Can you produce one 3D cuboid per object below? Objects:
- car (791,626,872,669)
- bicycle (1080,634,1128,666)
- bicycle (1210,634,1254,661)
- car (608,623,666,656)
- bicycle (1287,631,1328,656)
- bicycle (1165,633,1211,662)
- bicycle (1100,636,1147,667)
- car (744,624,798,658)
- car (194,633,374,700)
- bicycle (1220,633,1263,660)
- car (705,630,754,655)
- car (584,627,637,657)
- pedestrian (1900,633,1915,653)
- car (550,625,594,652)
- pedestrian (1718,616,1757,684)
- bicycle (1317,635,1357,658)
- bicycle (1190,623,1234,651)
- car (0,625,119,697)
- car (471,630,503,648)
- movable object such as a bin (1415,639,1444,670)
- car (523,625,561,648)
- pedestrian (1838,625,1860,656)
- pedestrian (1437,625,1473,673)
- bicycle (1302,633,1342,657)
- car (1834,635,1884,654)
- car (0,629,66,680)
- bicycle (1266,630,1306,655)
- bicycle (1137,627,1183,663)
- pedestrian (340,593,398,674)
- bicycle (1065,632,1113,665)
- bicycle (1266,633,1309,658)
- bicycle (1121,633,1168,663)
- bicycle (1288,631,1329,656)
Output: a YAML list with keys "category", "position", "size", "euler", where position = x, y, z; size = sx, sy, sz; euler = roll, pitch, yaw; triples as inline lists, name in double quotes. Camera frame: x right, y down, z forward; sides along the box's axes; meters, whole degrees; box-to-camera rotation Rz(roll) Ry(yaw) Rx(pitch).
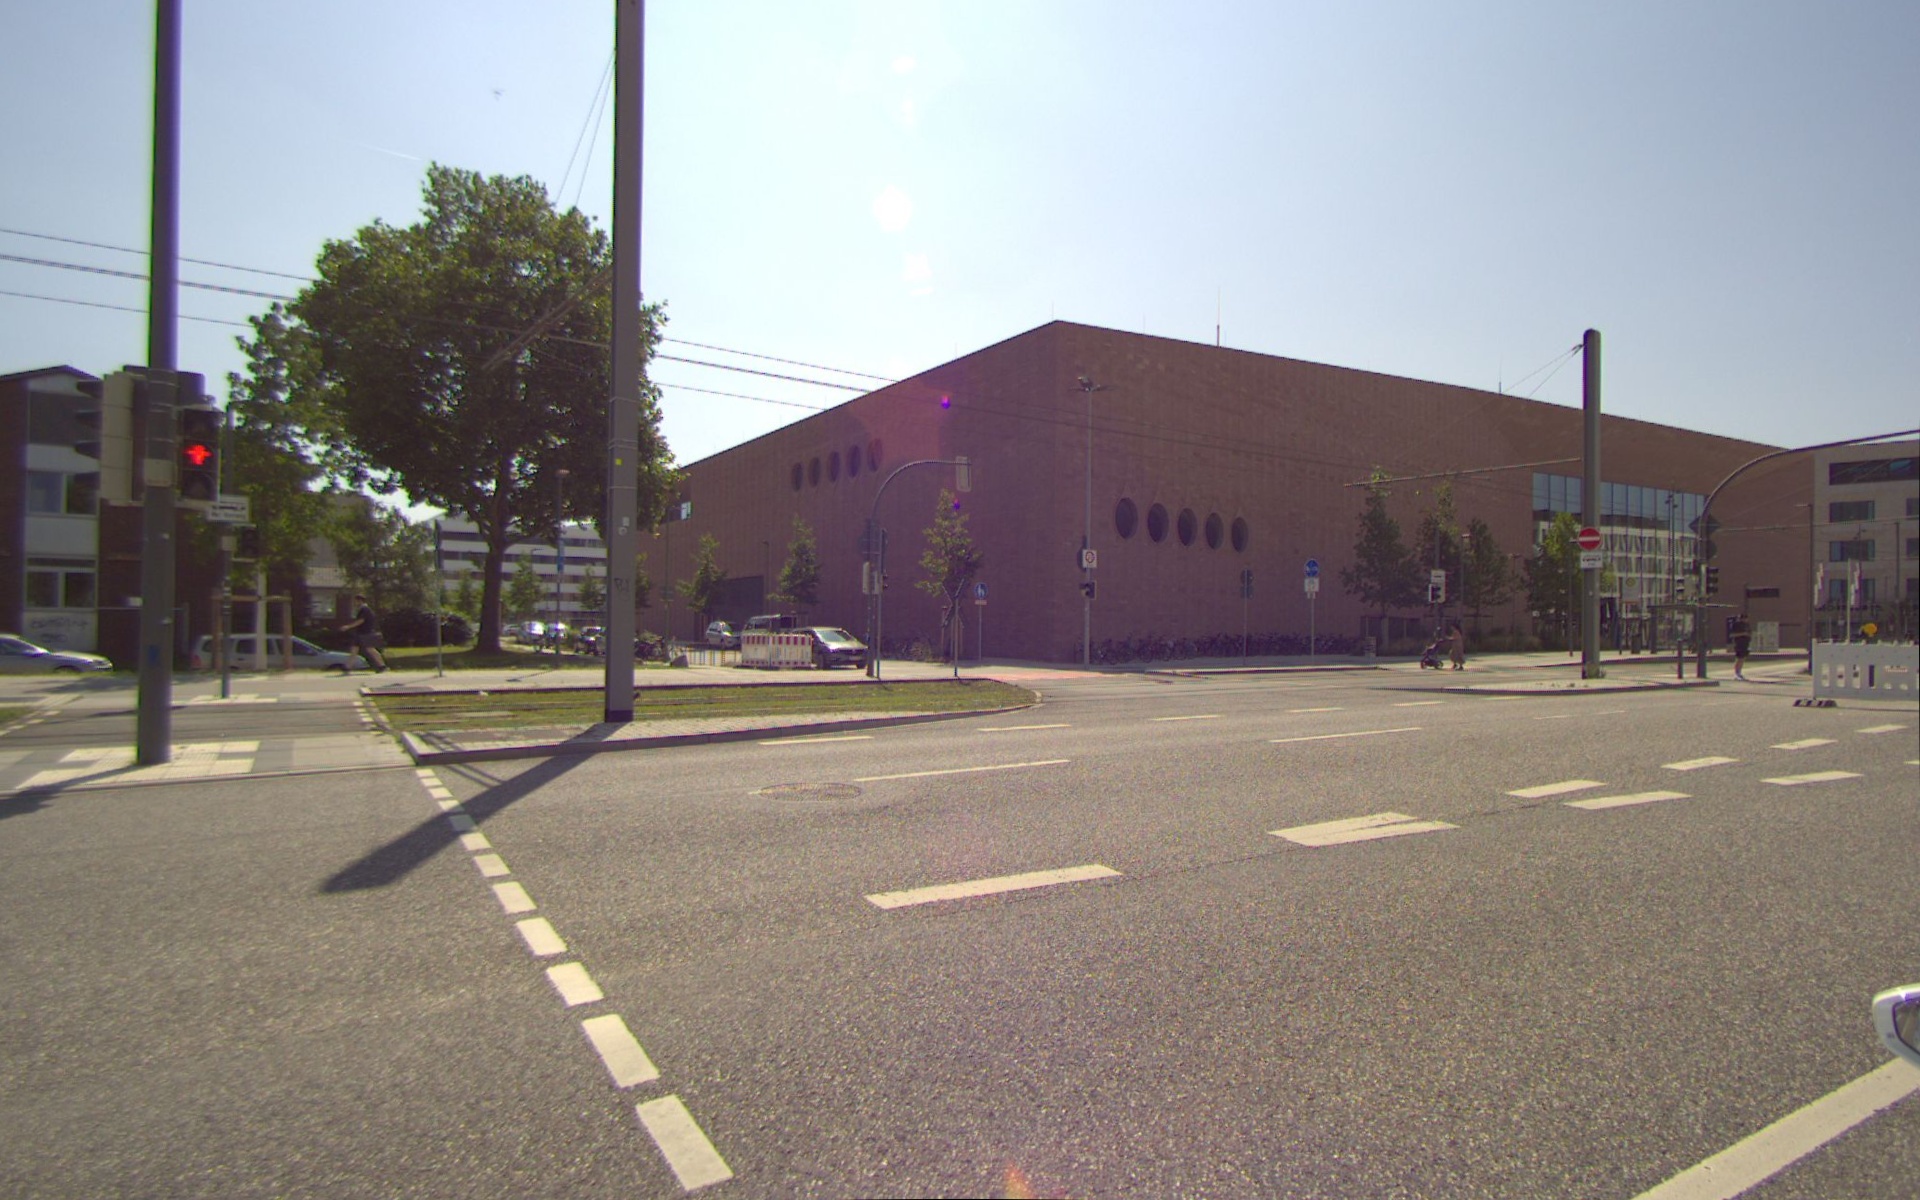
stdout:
- category: "car"
  position: [-4.682, 1.692, 36.309]
  size: [1.557, 1.388, 3.457]
  euler: [1, 0, -34]
- category: "bicycle"
  position: [5.874, 2.034, 41.029]
  size: [0.536, 1.228, 2.031]
  euler: [1, -1, -43]
- category: "bicycle"
  position: [12.910, 2.234, 47.729]
  size: [0.536, 1.228, 2.031]
  euler: [1, -1, -43]
- category: "car"
  position: [-15.650, 1.875, 48.521]
  size: [1.975, 1.421, 3.971]
  euler: [2, -1, -28]
- category: "bicycle"
  position: [18.288, 2.266, 52.891]
  size: [0.536, 1.228, 2.031]
  euler: [1, -1, -43]
- category: "bicycle"
  position: [10.242, 2.131, 45.181]
  size: [0.536, 1.228, 2.031]
  euler: [1, -1, -43]
- category: "bicycle"
  position: [6.788, 2.128, 41.791]
  size: [0.536, 1.228, 2.031]
  euler: [1, -1, -43]
- category: "car"
  position: [-10.331, 2.191, 54.829]
  size: [1.676, 1.712, 3.523]
  euler: [1, 0, -33]
- category: "car"
  position: [-19.823, 1.945, 29.659]
  size: [4.256, 1.784, 1.688]
  euler: [3, -1, -34]
- category: "bicycle"
  position: [13.744, 2.245, 49.029]
  size: [0.536, 1.228, 2.031]
  euler: [1, -1, -43]
- category: "car"
  position: [-13.703, 2.490, 59.651]
  size: [1.695, 1.339, 3.475]
  euler: [3, -1, -34]
- category: "car"
  position: [-18.208, 2.166, 52.229]
  size: [1.975, 1.421, 3.971]
  euler: [2, -1, -28]
- category: "pedestrian"
  position: [73.941, 3.344, 78.388]
  size: [0.881, 1.592, 0.706]
  euler: [1, -1, -34]
- category: "car"
  position: [-23.340, 2.299, 60.360]
  size: [1.975, 1.421, 3.971]
  euler: [2, -1, -28]
- category: "pedestrian"
  position: [21.767, 1.384, 28.132]
  size: [0.653, 1.858, 0.650]
  euler: [1, 0, -29]
- category: "bicycle"
  position: [20.682, 2.542, 55.186]
  size: [0.536, 1.228, 2.031]
  euler: [1, -1, -43]
- category: "bicycle"
  position: [11.764, 1.711, 46.950]
  size: [0.536, 1.228, 2.031]
  euler: [1, -1, -43]
- category: "car"
  position: [-24.725, 1.583, 26.291]
  size: [3.898, 1.784, 1.688]
  euler: [3, -1, -33]
- category: "car"
  position: [-41.350, 3.373, 87.793]
  size: [1.979, 1.421, 3.963]
  euler: [3, -1, -34]
- category: "movable object such as a bin"
  position: [16.291, 1.890, 34.829]
  size: [0.705, 1.045, 0.789]
  euler: [0, -1, 43]
- category: "car"
  position: [-28.308, 2.450, 67.994]
  size: [1.975, 1.421, 3.971]
  euler: [2, -1, -28]
- category: "pedestrian"
  position: [53.454, 2.417, 60.403]
  size: [0.816, 1.844, 0.806]
  euler: [1, 0, -33]
- category: "pedestrian"
  position: [16.878, 1.654, 34.260]
  size: [0.919, 1.583, 0.789]
  euler: [0, -1, 43]
- category: "bicycle"
  position: [19.608, 2.427, 54.425]
  size: [0.536, 1.228, 2.031]
  euler: [1, -1, -43]
- category: "car"
  position: [97.170, 4.818, 108.605]
  size: [1.787, 1.840, 3.901]
  euler: [3, -2, -45]
- category: "car"
  position: [-29.488, 1.626, 30.152]
  size: [3.748, 1.476, 1.529]
  euler: [1, -1, -34]
- category: "bicycle"
  position: [16.805, 2.203, 51.779]
  size: [0.741, 1.228, 1.868]
  euler: [2, -1, -40]
- category: "bicycle"
  position: [8.710, 1.952, 43.783]
  size: [0.536, 1.472, 2.031]
  euler: [1, -1, -43]
- category: "pedestrian"
  position: [-14.062, 0.787, 23.929]
  size: [1.093, 1.871, 0.808]
  euler: [1, -1, -27]
- category: "bicycle"
  position: [5.193, 1.941, 40.582]
  size: [0.536, 1.228, 2.031]
  euler: [1, -1, -43]
- category: "bicycle"
  position: [16.503, 2.282, 50.660]
  size: [0.536, 1.228, 2.031]
  euler: [1, -1, -43]
- category: "bicycle"
  position: [7.906, 2.058, 43.150]
  size: [0.536, 1.228, 2.030]
  euler: [1, -1, -45]
- category: "bicycle"
  position: [18.591, 2.315, 53.630]
  size: [0.536, 1.228, 2.031]
  euler: [1, -1, -43]
